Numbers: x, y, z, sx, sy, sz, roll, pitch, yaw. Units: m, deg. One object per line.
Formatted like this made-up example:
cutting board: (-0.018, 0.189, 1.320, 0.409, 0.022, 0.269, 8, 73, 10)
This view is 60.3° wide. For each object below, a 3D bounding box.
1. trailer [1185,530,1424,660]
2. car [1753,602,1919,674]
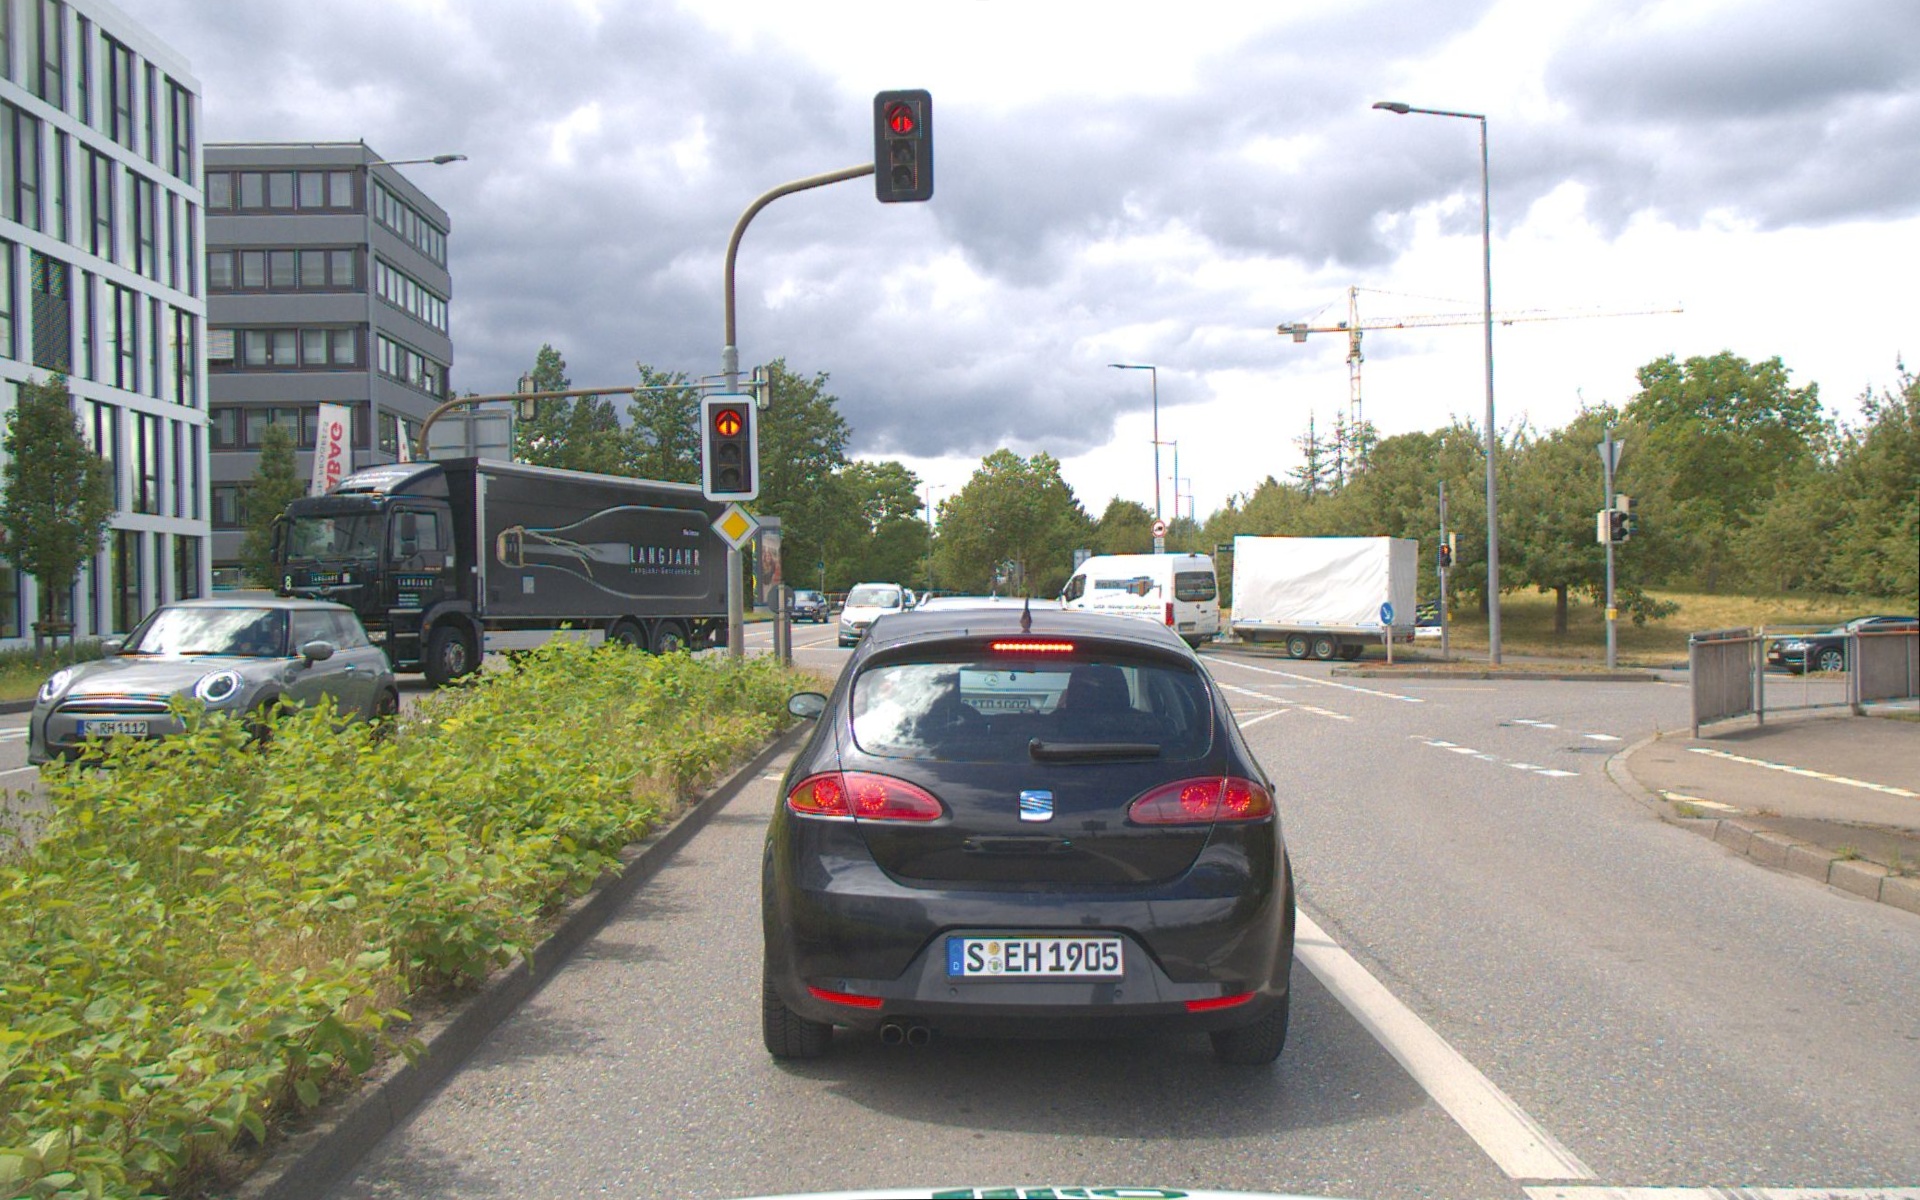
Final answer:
trailer: (8.790, -0.146, 42.380, 5.468, 3.127, 2.493, 1, 0, 32)
car: (21.132, 0.865, 38.539, 4.363, 1.593, 2.001, 0, 0, 3)
